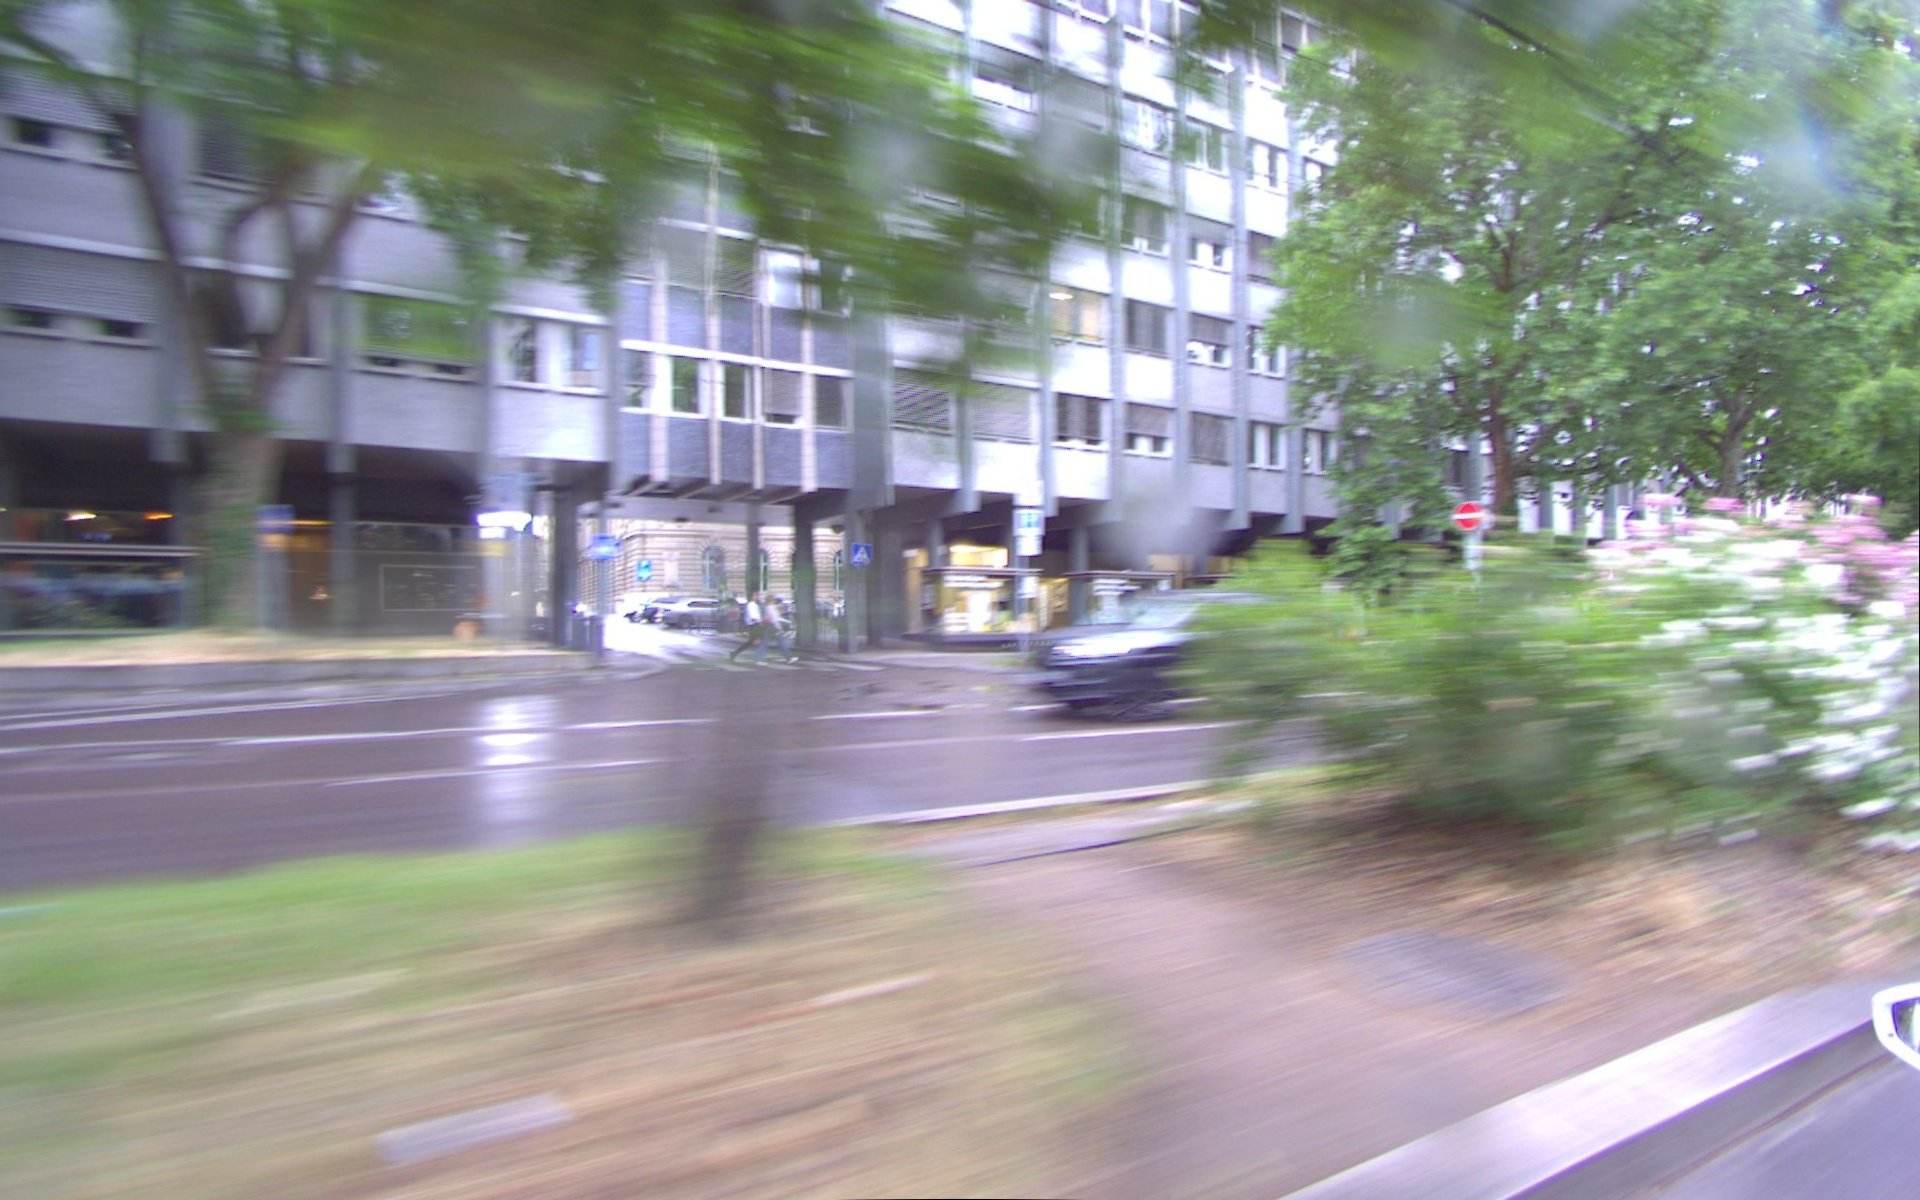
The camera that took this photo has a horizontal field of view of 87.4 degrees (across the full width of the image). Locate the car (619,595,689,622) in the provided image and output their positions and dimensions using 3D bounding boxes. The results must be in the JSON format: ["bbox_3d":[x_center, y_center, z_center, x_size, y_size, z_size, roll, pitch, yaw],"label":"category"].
[{"bbox_3d":[-20.085,0.547,66.027,4.154,1.662,1.826,1,0,-27],"label":"car"}]

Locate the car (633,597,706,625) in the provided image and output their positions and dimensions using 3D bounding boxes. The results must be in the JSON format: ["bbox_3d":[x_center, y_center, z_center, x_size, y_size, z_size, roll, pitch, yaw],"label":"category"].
[{"bbox_3d":[-18.395,0.693,63.654,4.154,1.662,1.826,1,0,-27],"label":"car"}]

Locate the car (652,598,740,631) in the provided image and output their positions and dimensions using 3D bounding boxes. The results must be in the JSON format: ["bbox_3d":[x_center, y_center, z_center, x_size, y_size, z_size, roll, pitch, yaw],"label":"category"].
[{"bbox_3d":[-13.832,0.763,52.646,4.154,1.662,1.826,1,0,-27],"label":"car"}]

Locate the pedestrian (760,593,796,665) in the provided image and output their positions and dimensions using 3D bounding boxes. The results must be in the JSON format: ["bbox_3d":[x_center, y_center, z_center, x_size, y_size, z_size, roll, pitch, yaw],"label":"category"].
[{"bbox_3d":[-4.426,0.708,24.444,0.678,1.731,0.561,1,0,-30],"label":"pedestrian"}]

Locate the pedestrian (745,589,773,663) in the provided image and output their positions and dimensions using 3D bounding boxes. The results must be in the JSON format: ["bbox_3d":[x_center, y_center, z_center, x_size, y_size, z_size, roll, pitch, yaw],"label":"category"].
[{"bbox_3d":[-5.039,0.646,25.185,0.516,1.831,0.545,1,0,-30],"label":"pedestrian"}]

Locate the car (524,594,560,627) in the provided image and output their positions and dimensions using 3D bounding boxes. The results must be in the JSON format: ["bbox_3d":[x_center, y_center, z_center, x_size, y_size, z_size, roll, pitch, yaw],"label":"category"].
[{"bbox_3d":[-24.750,0.585,59.347,1.813,1.855,4.182,1,0,-24],"label":"car"}]

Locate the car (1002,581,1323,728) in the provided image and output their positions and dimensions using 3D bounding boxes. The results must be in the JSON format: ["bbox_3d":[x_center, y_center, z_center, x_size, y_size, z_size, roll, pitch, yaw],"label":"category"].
[{"bbox_3d":[2.689,0.658,13.117,3.967,1.659,1.714,1,0,-30],"label":"car"}]
